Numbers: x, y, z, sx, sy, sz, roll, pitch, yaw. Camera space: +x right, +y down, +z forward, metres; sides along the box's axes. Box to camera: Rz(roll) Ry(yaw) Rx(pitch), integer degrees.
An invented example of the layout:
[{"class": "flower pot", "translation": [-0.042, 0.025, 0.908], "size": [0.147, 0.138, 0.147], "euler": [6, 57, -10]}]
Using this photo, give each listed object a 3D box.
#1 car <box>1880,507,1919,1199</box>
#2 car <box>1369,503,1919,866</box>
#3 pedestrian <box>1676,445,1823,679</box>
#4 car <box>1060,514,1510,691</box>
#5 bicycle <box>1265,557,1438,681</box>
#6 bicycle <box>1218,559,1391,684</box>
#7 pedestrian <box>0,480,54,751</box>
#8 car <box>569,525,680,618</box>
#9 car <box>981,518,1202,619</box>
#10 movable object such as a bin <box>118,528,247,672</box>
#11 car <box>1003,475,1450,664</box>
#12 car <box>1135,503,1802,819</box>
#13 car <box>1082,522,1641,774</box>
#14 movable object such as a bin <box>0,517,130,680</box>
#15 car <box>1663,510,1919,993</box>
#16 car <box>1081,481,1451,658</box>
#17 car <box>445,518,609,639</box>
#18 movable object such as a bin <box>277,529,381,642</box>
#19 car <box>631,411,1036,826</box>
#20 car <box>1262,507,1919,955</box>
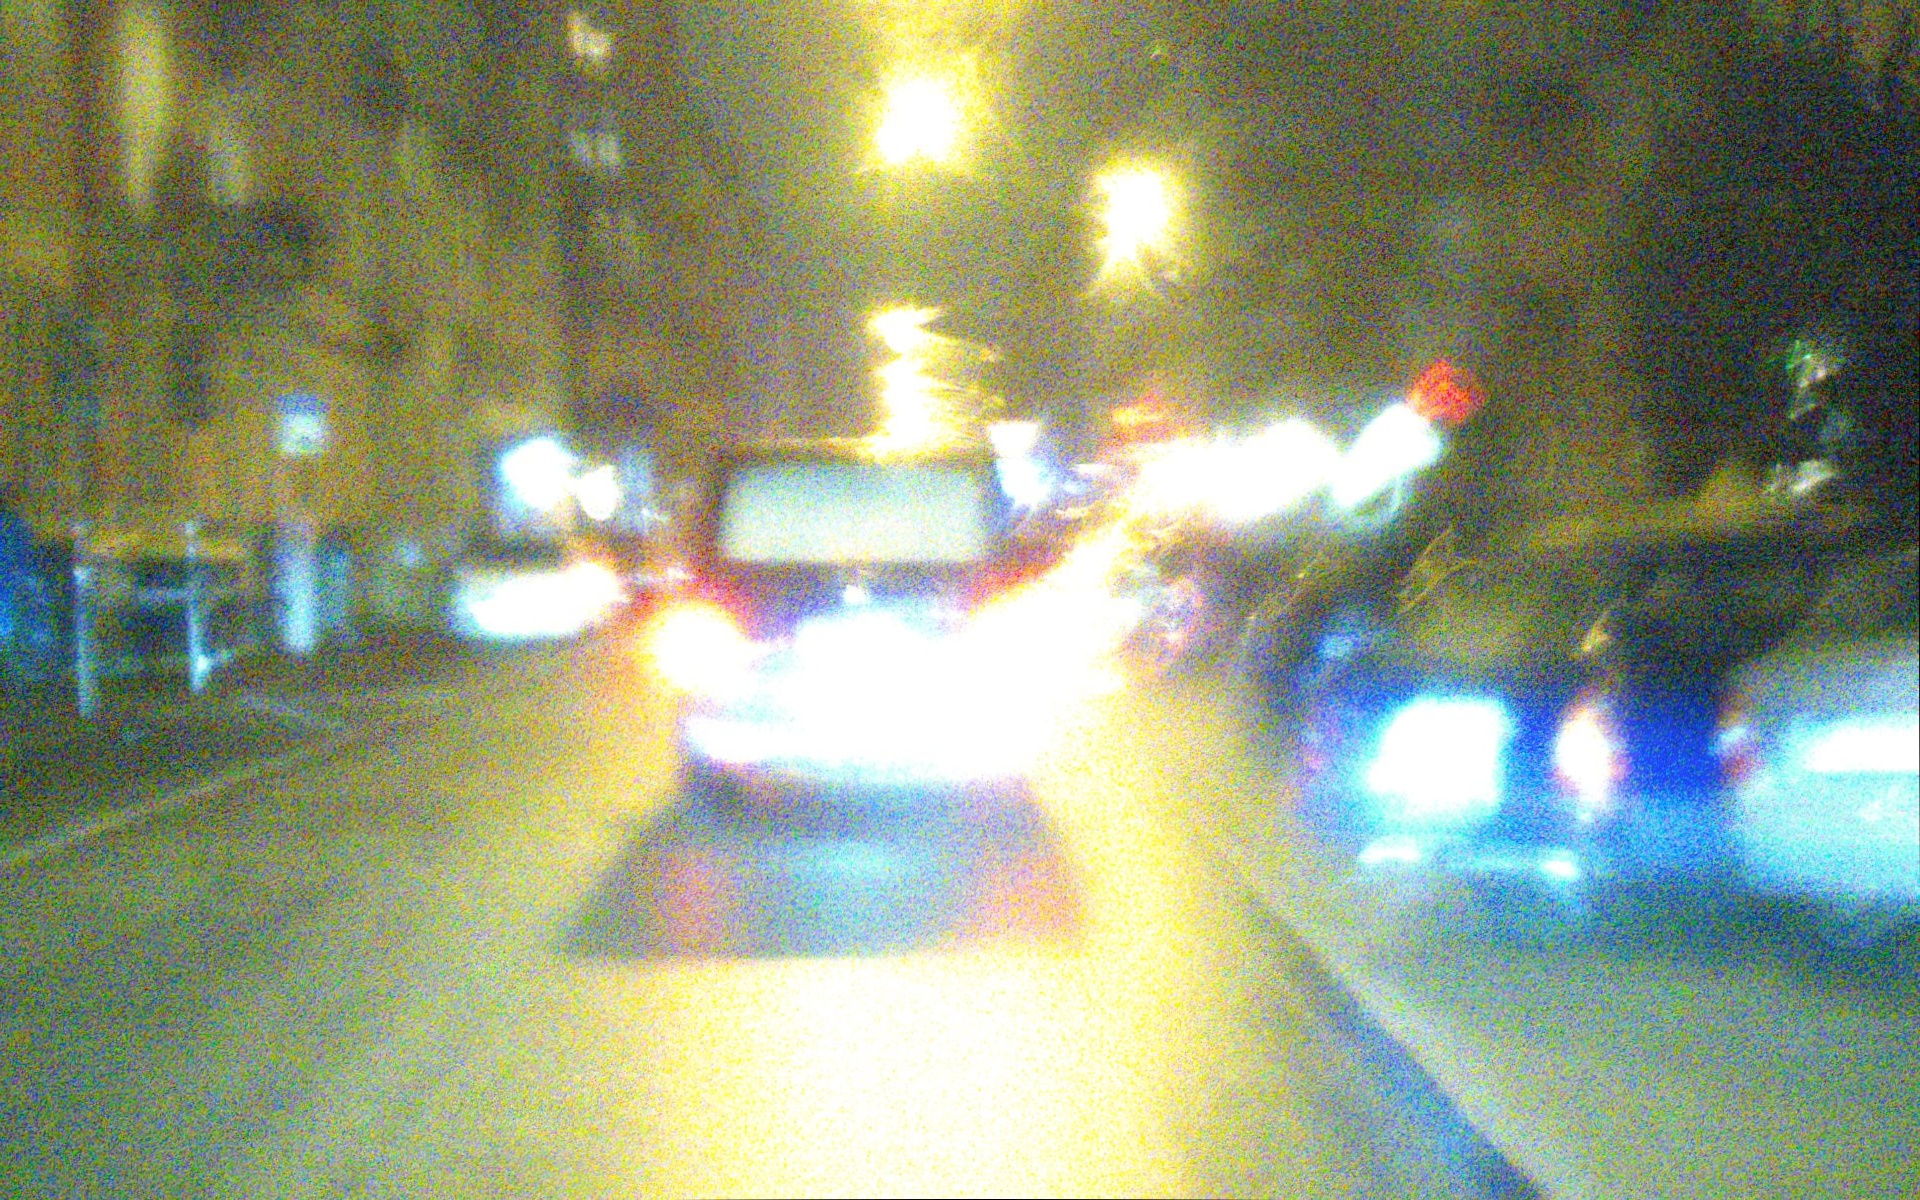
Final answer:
[{"class": "car", "translation": [3.565, 0.570, 5.652], "size": [3.988, 1.547, 1.804], "euler": [-2, 1, -35]}, {"class": "car", "translation": [3.917, 0.330, 16.476], "size": [3.641, 1.575, 1.593], "euler": [-1, 1, -29]}, {"class": "pedestrian", "translation": [6.452, -0.318, 28.129], "size": [0.868, 1.849, 0.993], "euler": [-2, 1, -3]}, {"class": "car", "translation": [3.162, 0.000, 33.371], "size": [3.986, 1.487, 1.735], "euler": [-3, 1, -26]}, {"class": "bicycle", "translation": [3.533, 0.159, 31.156], "size": [0.518, 1.072, 1.827], "euler": [-3, 2, -32]}, {"class": "bicycle", "translation": [3.075, 0.184, 30.870], "size": [0.518, 1.072, 1.827], "euler": [-3, 2, -32]}, {"class": "pedestrian", "translation": [-6.621, 0.088, 23.502], "size": [0.591, 1.814, 0.795], "euler": [2, 1, -1]}, {"class": "car", "translation": [-5.803, -0.517, 59.827], "size": [1.812, 1.552, 4.077], "euler": [0, 1, -4]}, {"class": "car", "translation": [2.297, -0.551, 59.723], "size": [3.555, 1.585, 1.605], "euler": [-3, 1, -37]}, {"class": "movable object such as a bin", "translation": [-7.800, -0.014, 34.517], "size": [0.975, 1.393, 1.133], "euler": [2, 1, 2]}, {"class": "car", "translation": [3.068, -0.393, 39.273], "size": [4.784, 2.042, 2.067], "euler": [-1, 2, -31]}, {"class": "car", "translation": [2.843, 0.263, 18.872], "size": [3.643, 1.575, 1.592], "euler": [-1, 2, -40]}, {"class": "car", "translation": [2.766, 0.290, 23.411], "size": [3.642, 1.575, 1.592], "euler": [0, 1, -36]}, {"class": "movable object such as a bin", "translation": [-8.157, -0.025, 31.077], "size": [0.975, 1.415, 1.133], "euler": [2, 1, 2]}, {"class": "car", "translation": [4.415, 0.394, 11.549], "size": [3.987, 1.447, 1.688], "euler": [-2, 1, -34]}, {"class": "car", "translation": [3.265, -0.339, 36.606], "size": [3.554, 1.705, 1.646], "euler": [-3, 1, -29]}, {"class": "car", "translation": [-5.540, -0.304, 44.332], "size": [1.587, 1.477, 3.793], "euler": [0, 1, 0]}, {"class": "movable object such as a bin", "translation": [-8.015, -0.191, 43.709], "size": [1.048, 1.393, 1.158], "euler": [2, 1, 2]}, {"class": "car", "translation": [-0.645, 0.075, 18.958], "size": [1.993, 2.043, 4.000], "euler": [0, 0, -1]}, {"class": "car", "translation": [3.102, 0.392, 13.184], "size": [3.672, 1.455, 1.604], "euler": [-3, 1, -35]}]
